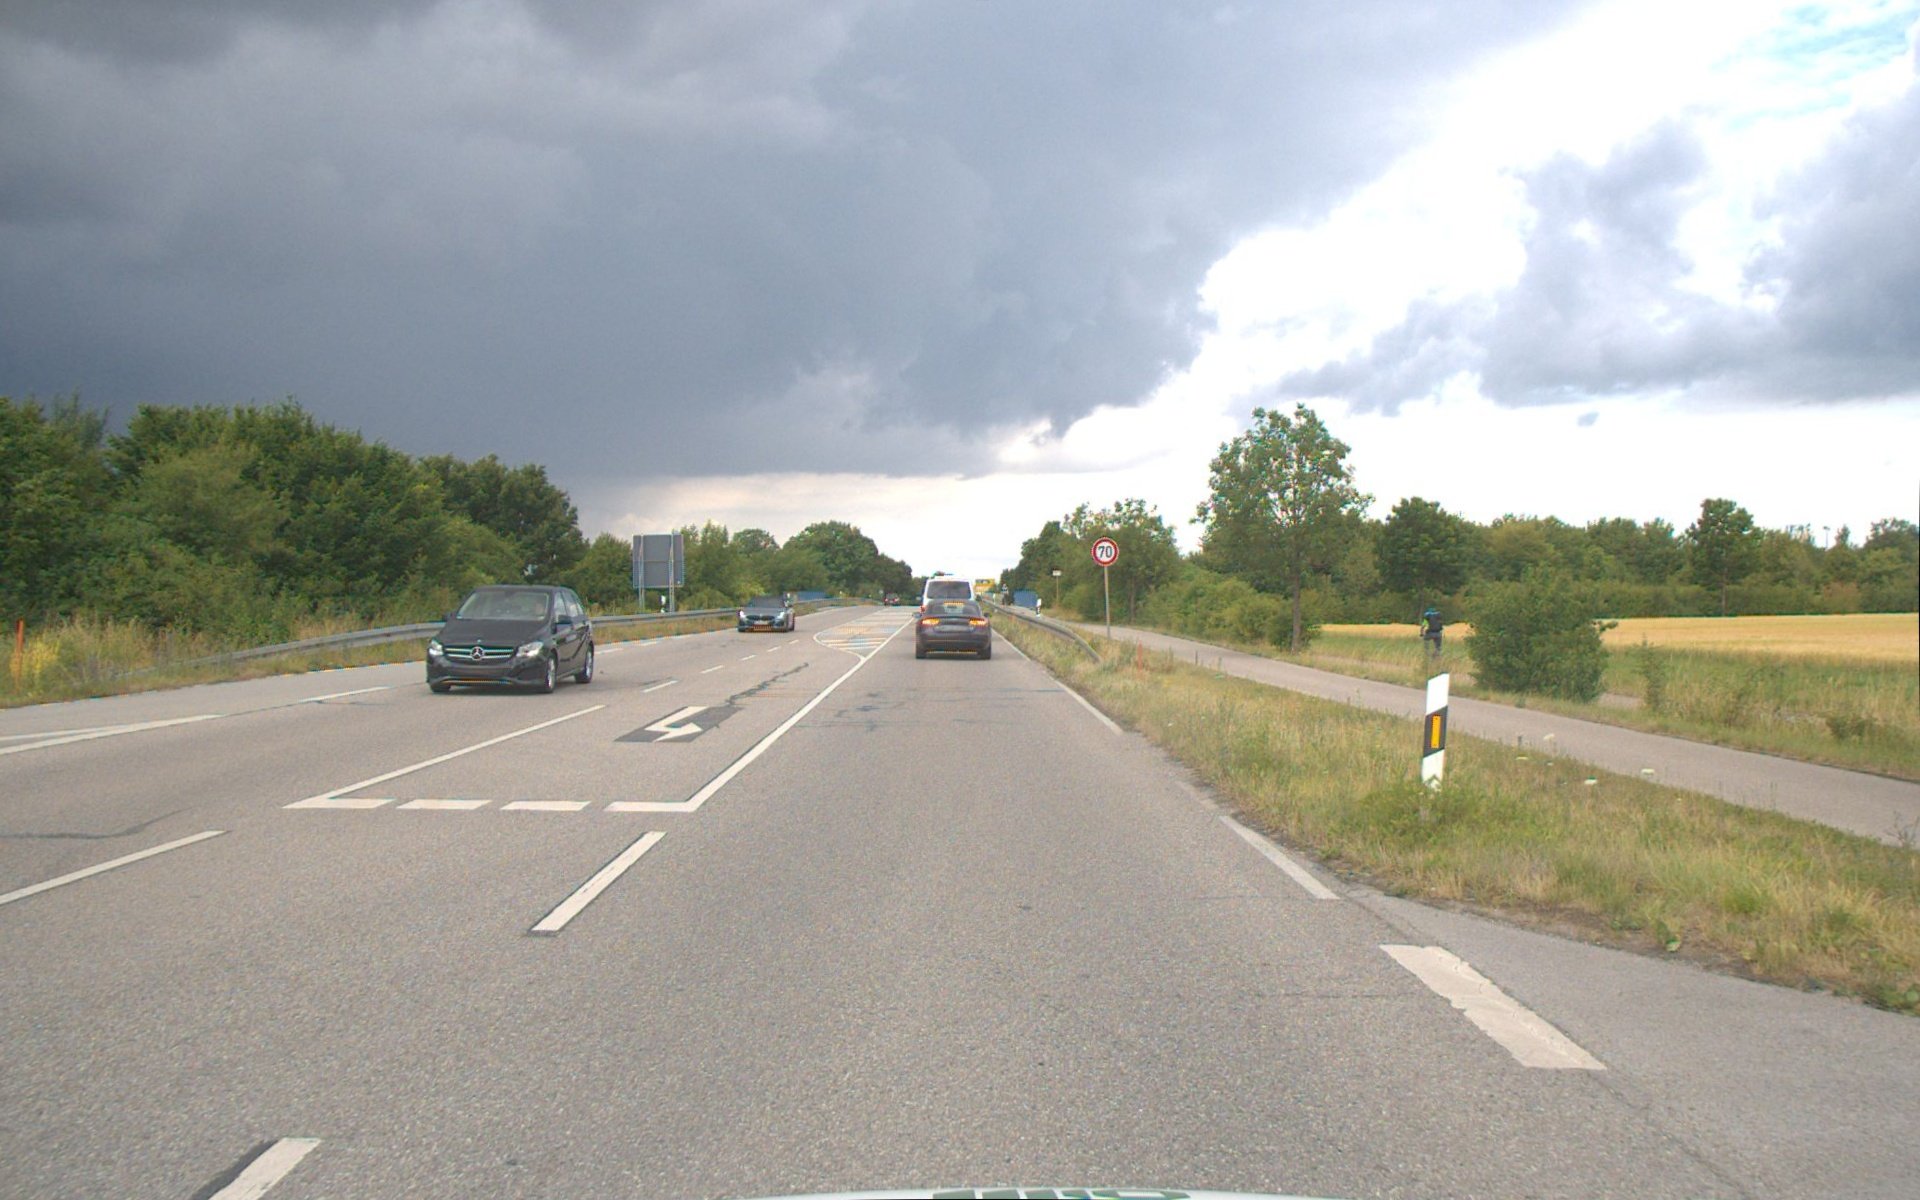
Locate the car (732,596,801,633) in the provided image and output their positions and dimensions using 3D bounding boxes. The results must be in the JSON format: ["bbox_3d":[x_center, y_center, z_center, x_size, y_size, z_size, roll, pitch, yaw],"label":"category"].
[{"bbox_3d":[-7.226,0.521,62.111,2.120,1.307,4.237,1,0,-1],"label":"car"}]

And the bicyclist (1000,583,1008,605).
[{"bbox_3d":[3.528,-0.476,131.908,0.634,1.674,0.866,0,0,-1],"label":"bicyclist"}]

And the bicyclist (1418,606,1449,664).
[{"bbox_3d":[13.373,0.983,46.744,0.642,1.609,0.744,1,-1,-1],"label":"bicyclist"}]

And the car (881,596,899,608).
[{"bbox_3d":[-8.127,0.231,192.585,1.824,1.400,4.000,2,0,1],"label":"car"}]

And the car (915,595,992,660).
[{"bbox_3d":[-0.159,0.641,39.813,1.749,1.448,3.999,1,0,-1],"label":"car"}]

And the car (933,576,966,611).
[{"bbox_3d":[-0.754,-0.534,125.211,2.397,2.548,5.041,1,0,0],"label":"car"}]

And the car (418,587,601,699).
[{"bbox_3d":[-6.760,0.591,25.237,1.707,1.557,4.198,0,0,-1],"label":"car"}]

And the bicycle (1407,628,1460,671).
[{"bbox_3d":[13.366,1.394,46.769,0.642,1.158,2.830,1,-1,-1],"label":"bicycle"}]

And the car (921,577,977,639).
[{"bbox_3d":[-0.377,0.264,54.209,1.749,1.923,3.999,1,0,-1],"label":"car"}]

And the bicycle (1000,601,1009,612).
[{"bbox_3d":[3.523,0.518,131.829,0.652,0.936,1.830,0,0,-1],"label":"bicycle"}]
